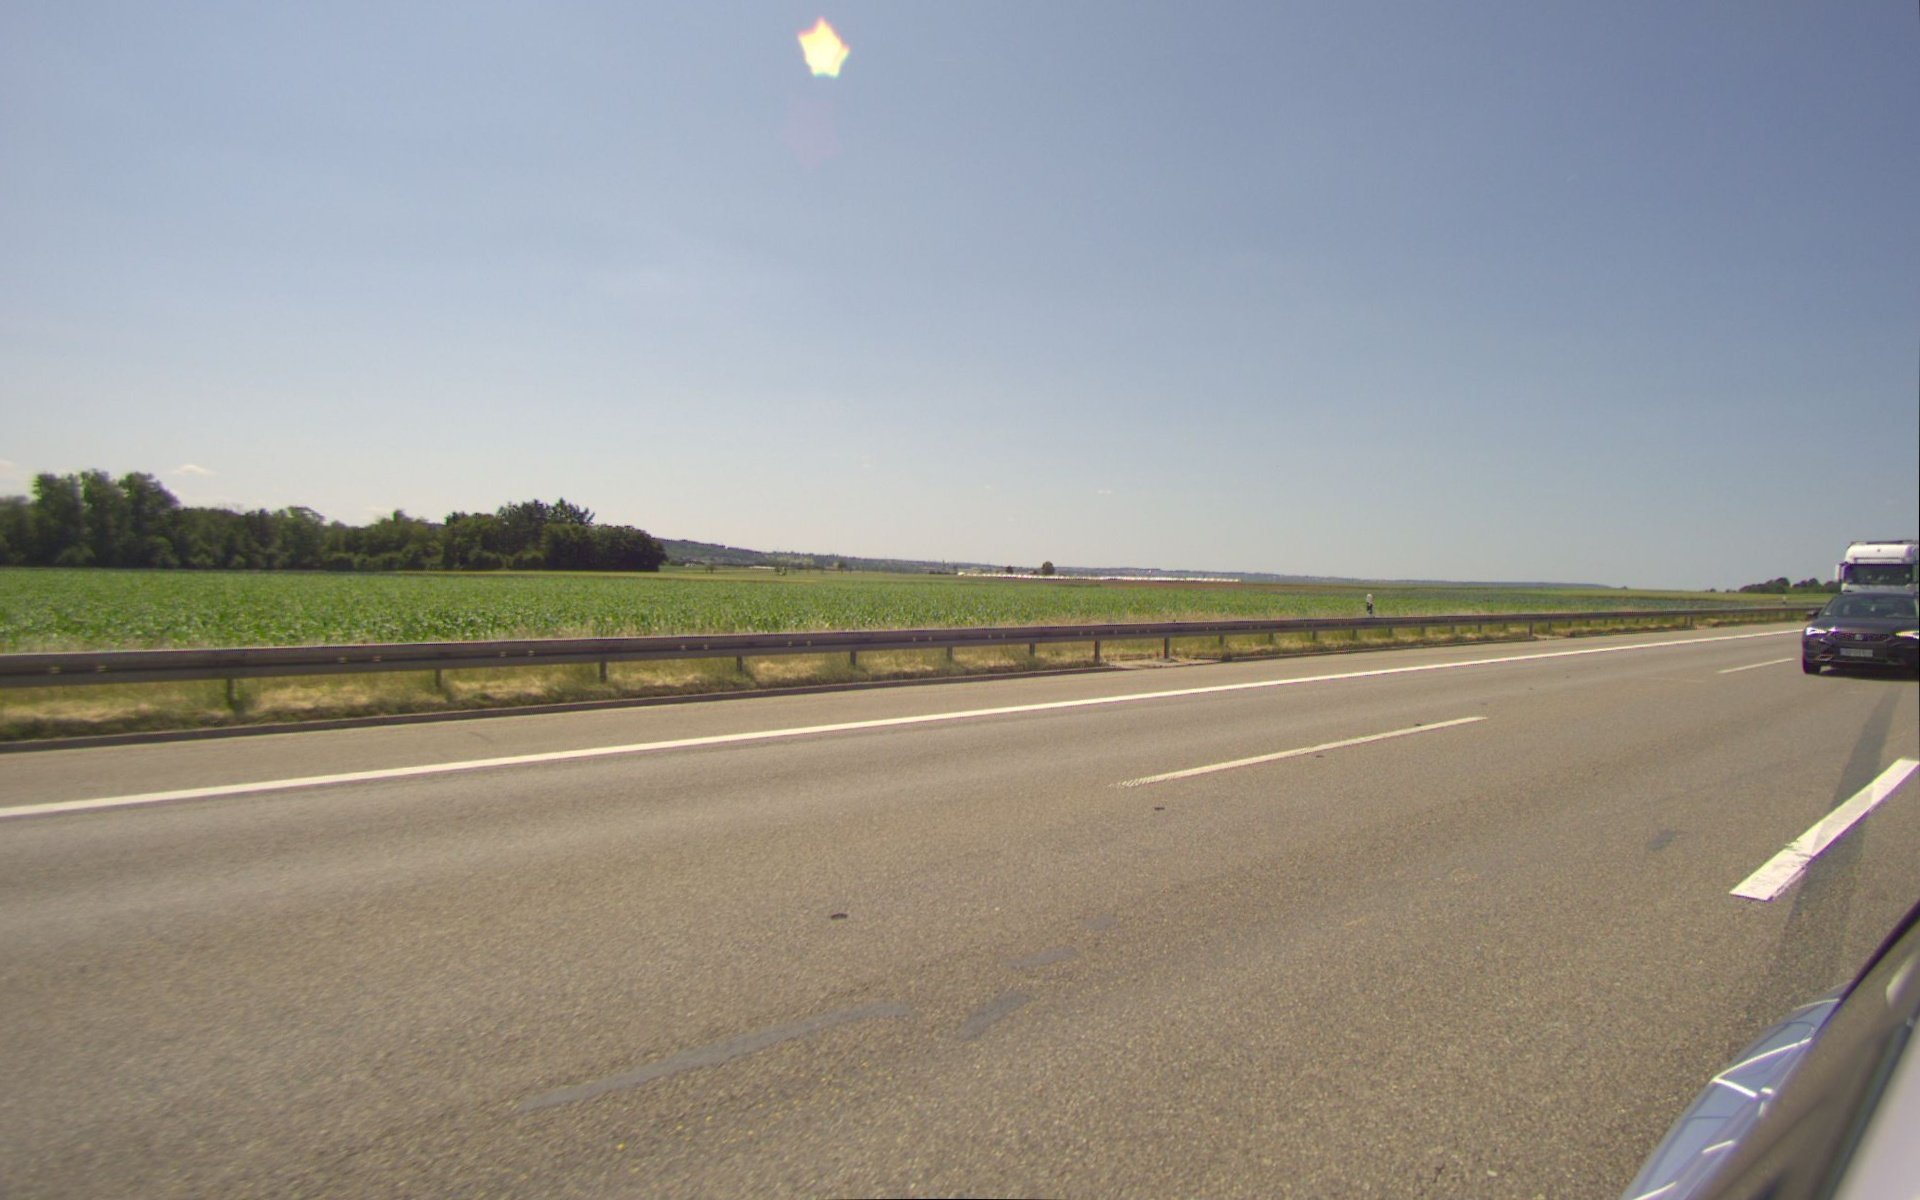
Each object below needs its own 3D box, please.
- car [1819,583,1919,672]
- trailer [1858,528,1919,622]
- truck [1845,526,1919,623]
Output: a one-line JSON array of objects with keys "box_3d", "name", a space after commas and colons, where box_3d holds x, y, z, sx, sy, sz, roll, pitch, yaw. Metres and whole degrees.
[{"box_3d": [18.130, 0.476, 19.664, 3.759, 1.581, 1.798, 0, 1, -43], "name": "car"}, {"box_3d": [47.979, -1.201, 50.718, 13.063, 4.273, 2.872, 0, 0, -41], "name": "trailer"}, {"box_3d": [42.826, -1.136, 46.176, 6.761, 4.143, 2.867, 0, 0, -42], "name": "truck"}]
